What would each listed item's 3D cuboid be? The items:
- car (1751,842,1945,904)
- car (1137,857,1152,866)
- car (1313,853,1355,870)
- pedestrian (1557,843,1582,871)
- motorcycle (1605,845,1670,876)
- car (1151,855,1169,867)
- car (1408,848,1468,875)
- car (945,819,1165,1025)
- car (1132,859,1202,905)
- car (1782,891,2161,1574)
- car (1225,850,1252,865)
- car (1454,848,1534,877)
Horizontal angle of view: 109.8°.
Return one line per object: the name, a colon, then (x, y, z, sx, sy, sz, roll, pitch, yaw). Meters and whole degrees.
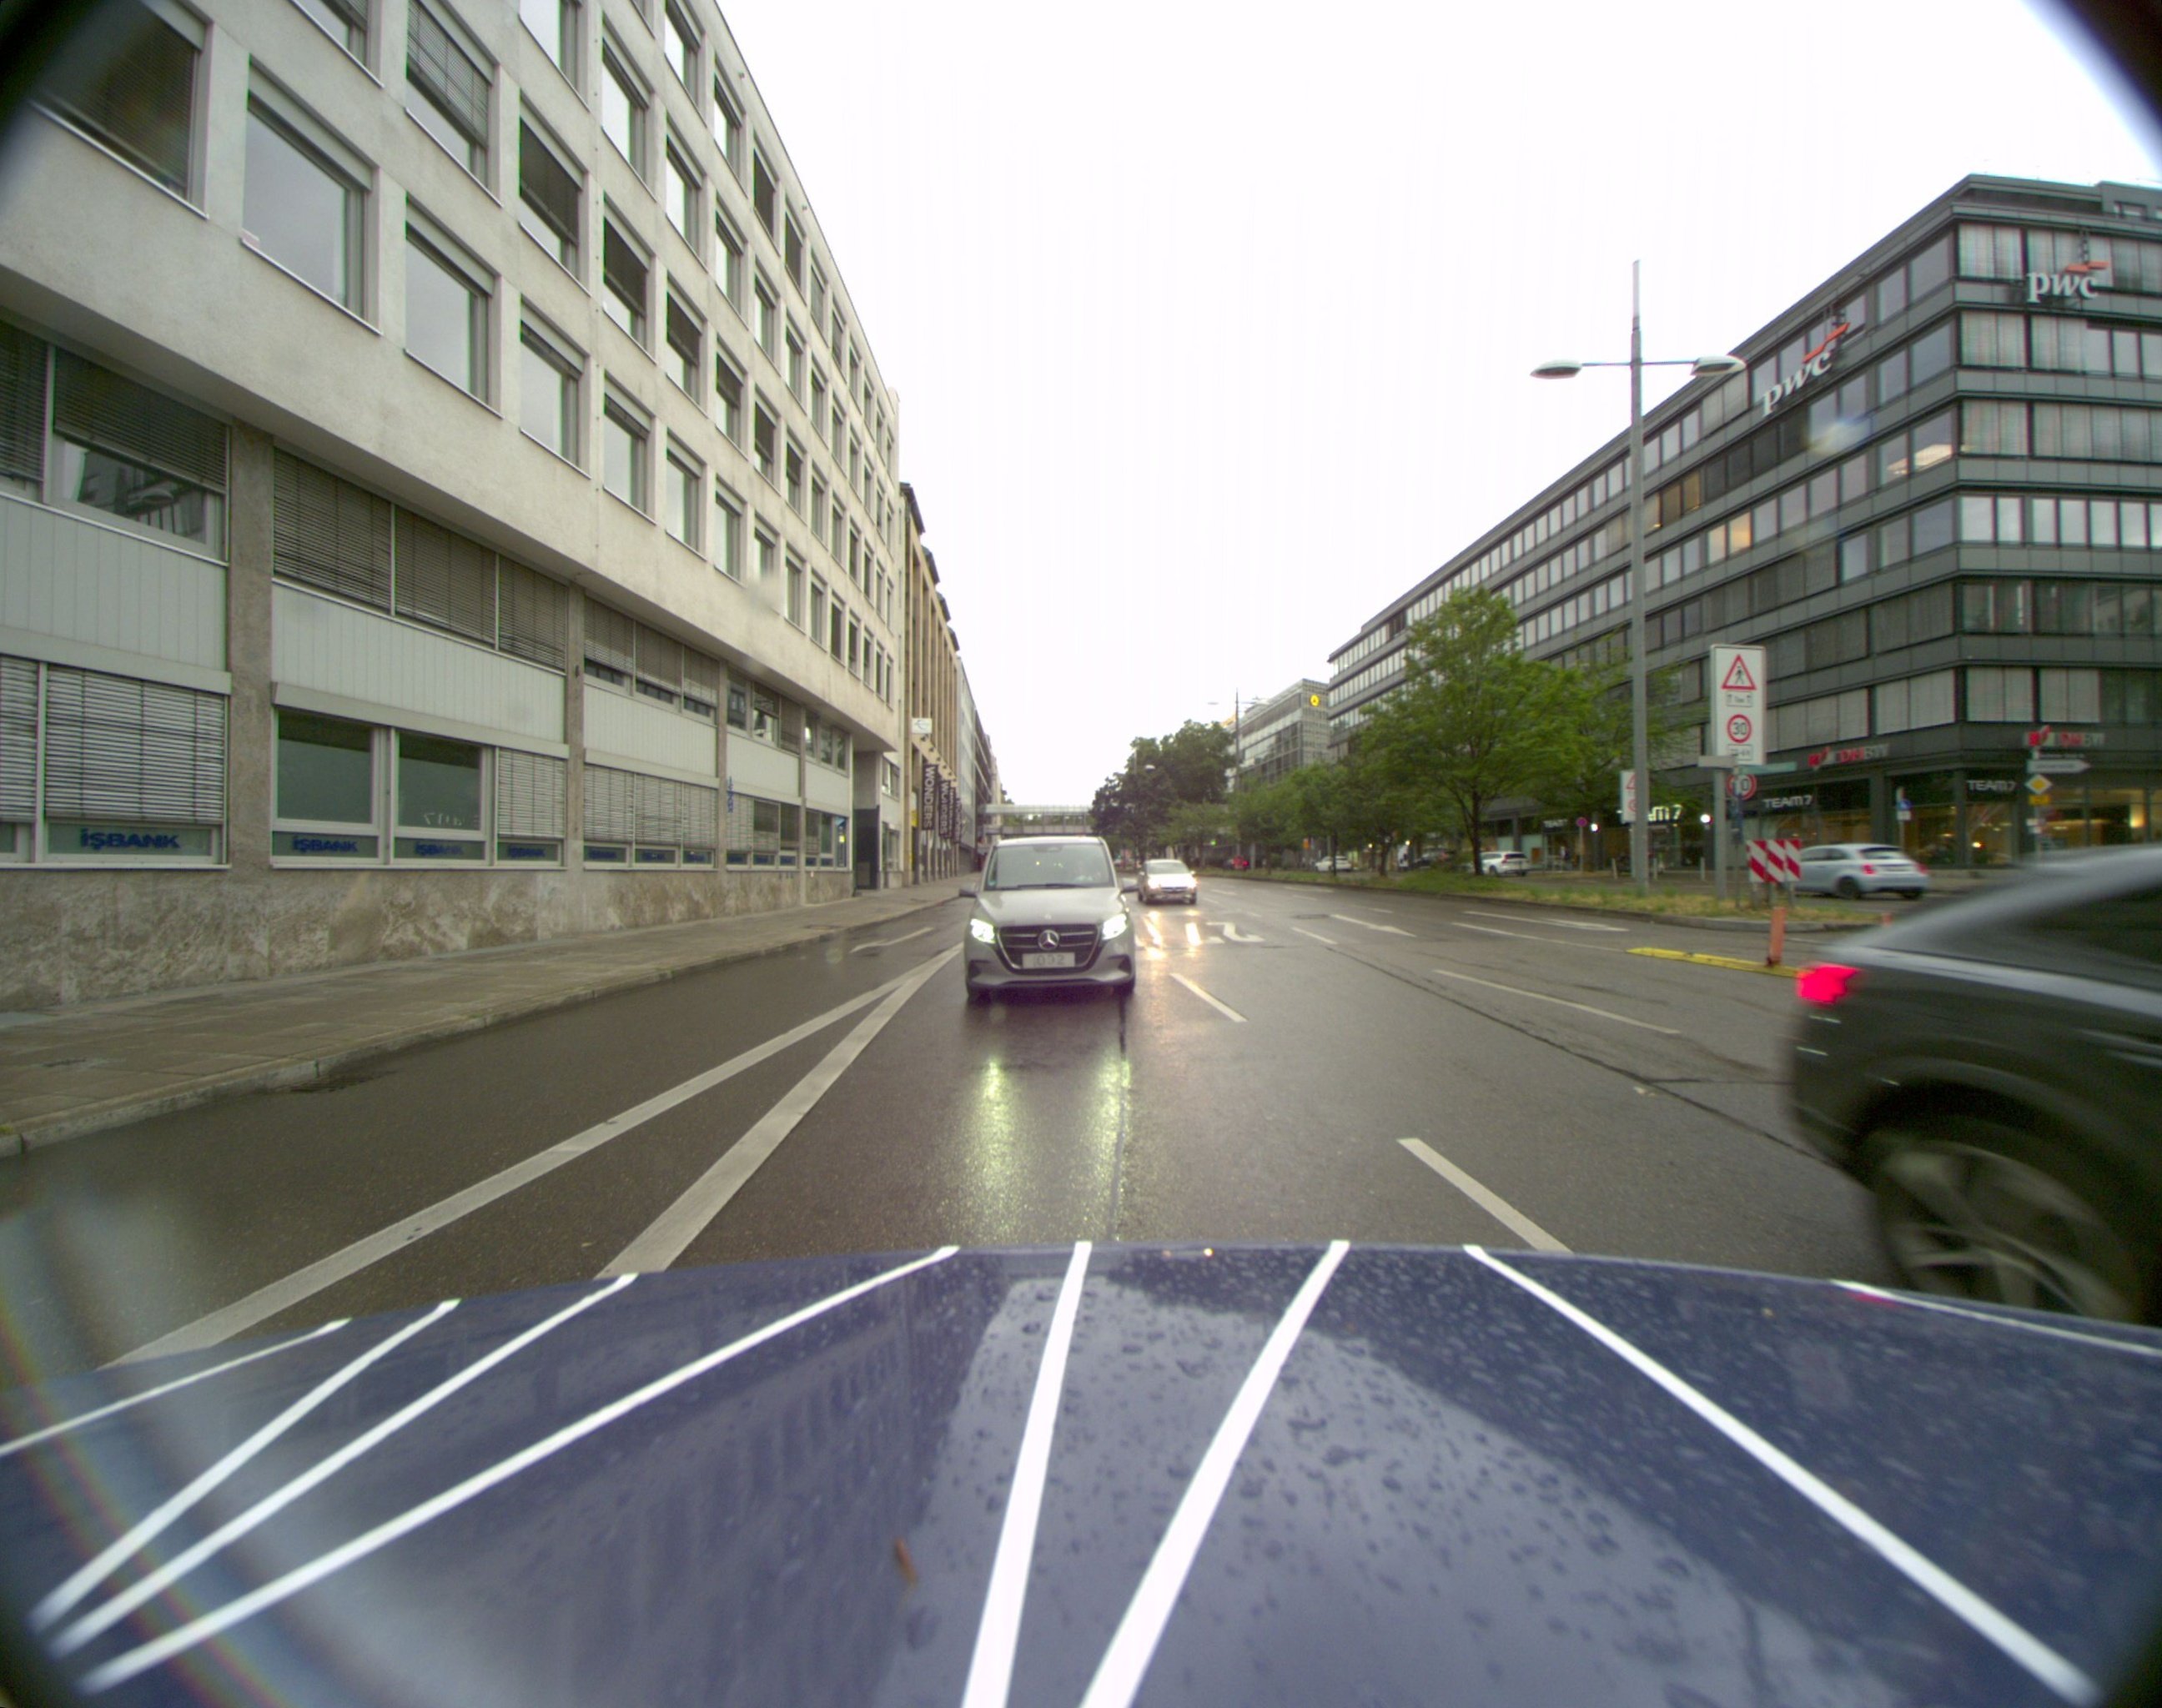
car: (21.414, 0.486, 21.443, 1.788, 1.564, 3.691, -1, 0, 1)
car: (10.295, 1.233, 122.678, 1.687, 1.423, 4.081, -1, 0, -5)
car: (22.280, 0.644, 67.005, 1.814, 1.436, 4.307, -2, 0, -7)
pedestrian: (29.133, 0.193, 45.306, 0.786, 1.628, 0.965, -1, 0, -4)
motorcycle: (26.966, 0.310, 36.844, 0.861, 1.386, 2.364, -5, 2, -30)
car: (11.621, 1.018, 111.960, 1.742, 1.717, 4.491, 1, 0, -6)
car: (23.669, 0.449, 50.523, 1.813, 1.651, 4.309, -2, 0, -2)
car: (-0.404, 0.691, 10.173, 2.163, 2.014, 5.040, -1, 0, -4)
car: (2.869, 0.900, 26.182, 1.853, 1.434, 3.869, -1, 0, -2)
car: (3.370, 0.835, 0.398, 1.941, 1.426, 4.287, -1, 0, -2)
car: (17.393, 0.399, 84.175, 1.998, 1.535, 4.483, -1, 0, 0)
car: (24.008, 0.456, 44.389, 1.814, 1.477, 4.771, -4, 0, -4)
